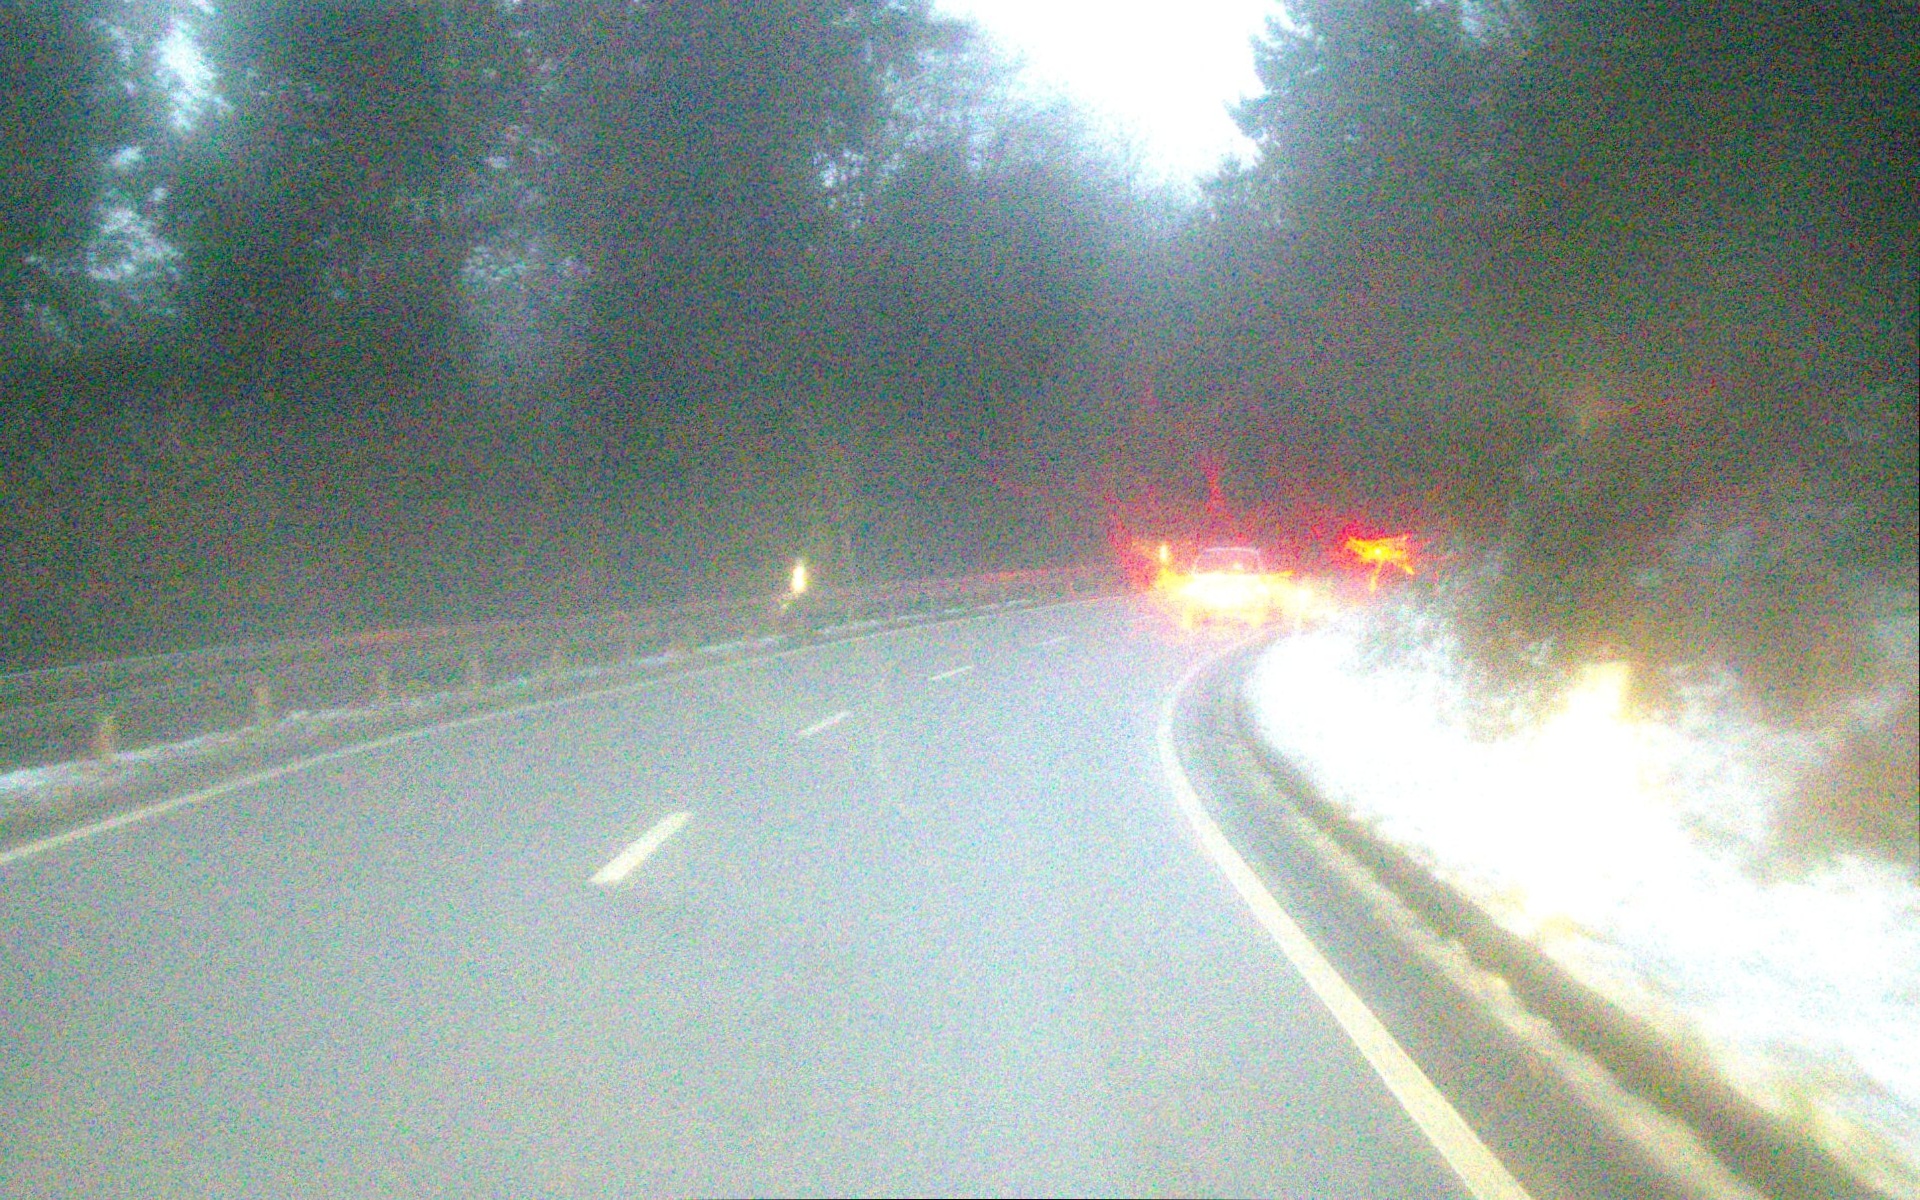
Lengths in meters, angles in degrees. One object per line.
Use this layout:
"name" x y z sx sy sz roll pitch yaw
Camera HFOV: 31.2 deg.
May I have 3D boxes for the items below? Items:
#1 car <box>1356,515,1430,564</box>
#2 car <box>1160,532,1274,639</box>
"car" 12.534 -1.760 99.724 1.994 1.305 3.999 -2 1 6
"car" 4.813 -0.300 64.618 1.994 1.866 4.000 -2 1 4
